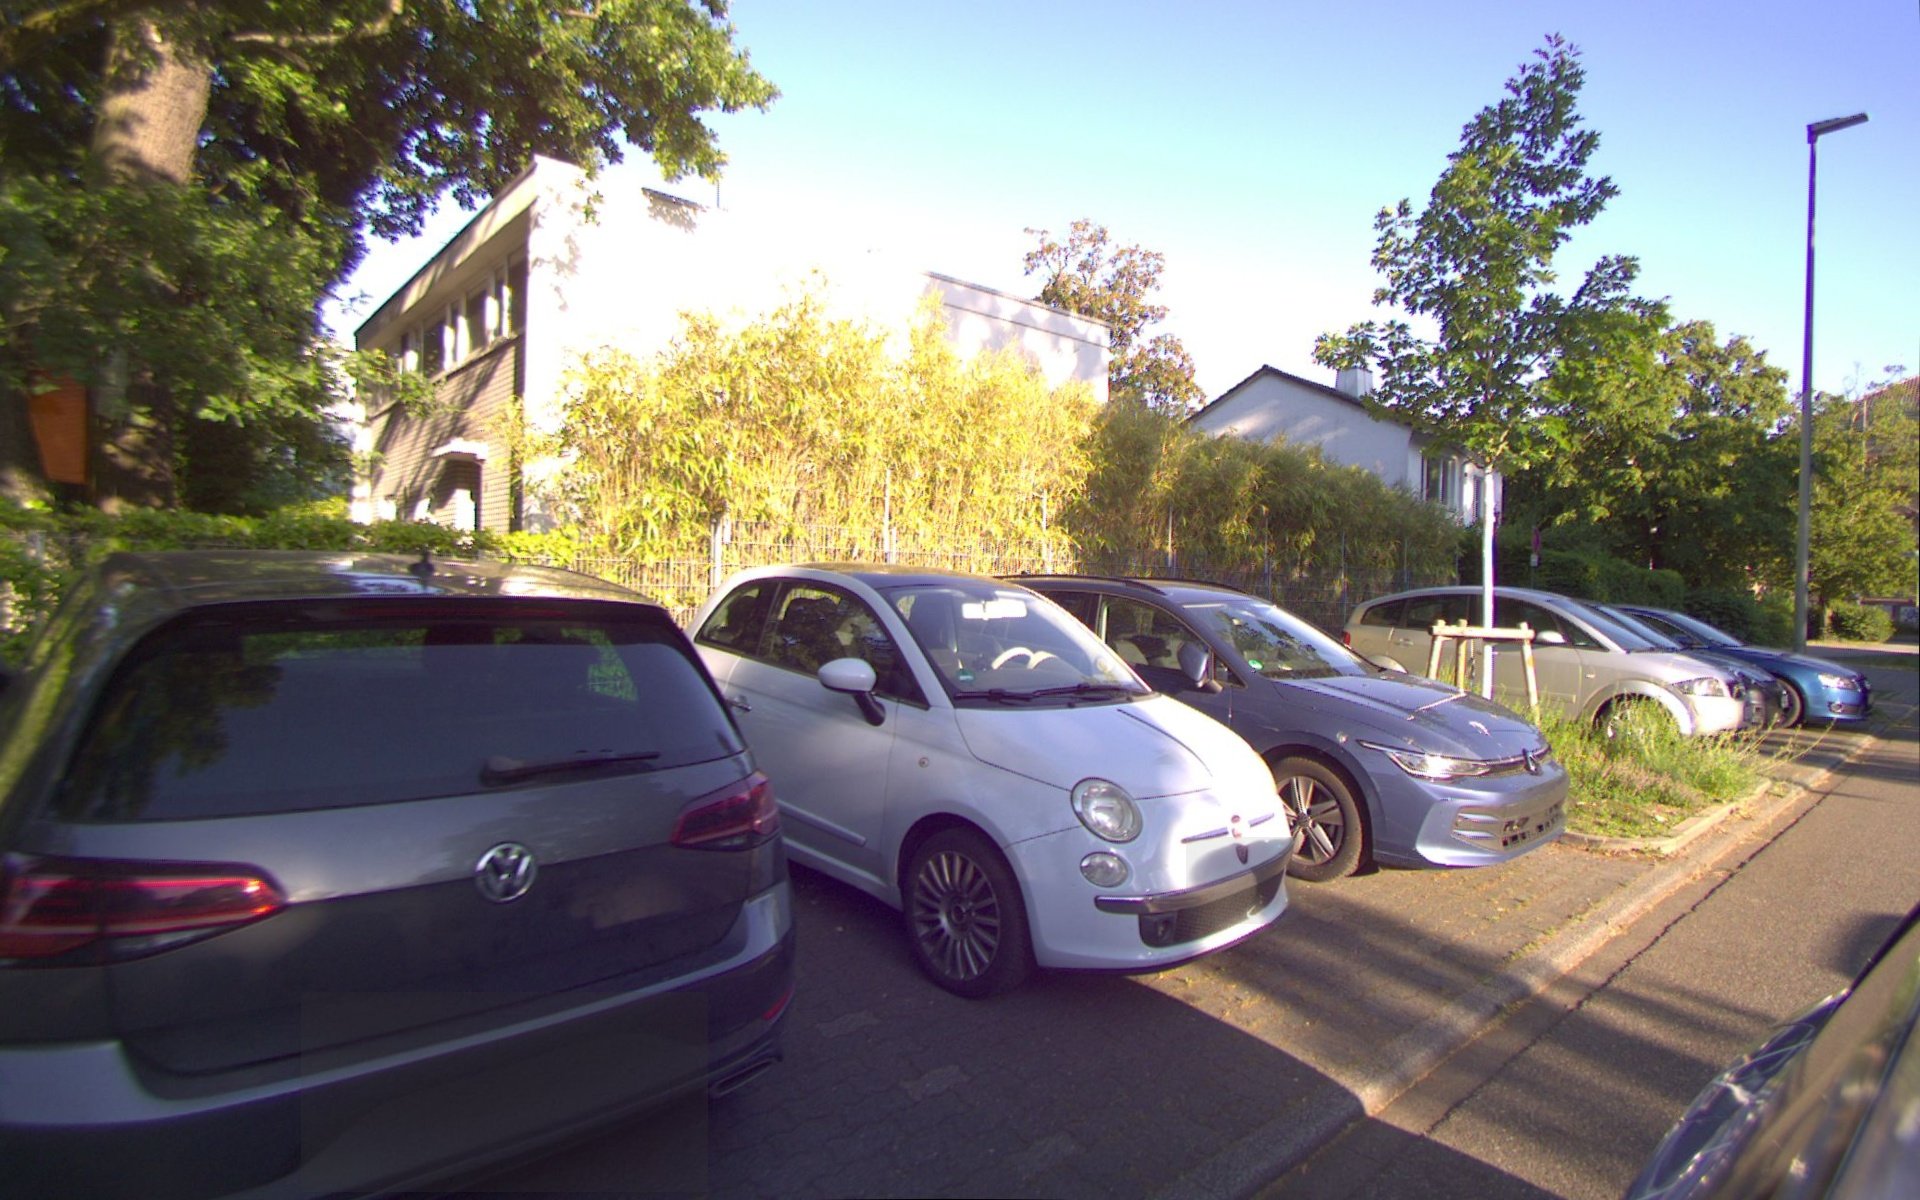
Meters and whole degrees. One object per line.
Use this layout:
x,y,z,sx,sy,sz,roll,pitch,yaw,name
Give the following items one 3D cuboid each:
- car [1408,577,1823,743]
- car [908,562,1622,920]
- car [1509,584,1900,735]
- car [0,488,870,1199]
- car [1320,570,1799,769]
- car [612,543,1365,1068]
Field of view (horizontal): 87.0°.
7.807,0.578,12.319,1.716,1.556,3.916,0,3,-44,car
1.614,0.559,6.551,1.779,1.475,4.096,1,2,-40,car
9.727,0.650,13.443,1.716,1.556,3.916,0,3,-44,car
-2.112,0.520,3.301,1.616,1.534,3.997,1,2,-40,car
6.009,0.540,10.475,1.716,1.556,3.916,0,3,-44,car
-0.119,0.538,4.745,1.610,1.509,3.349,0,3,-43,car
